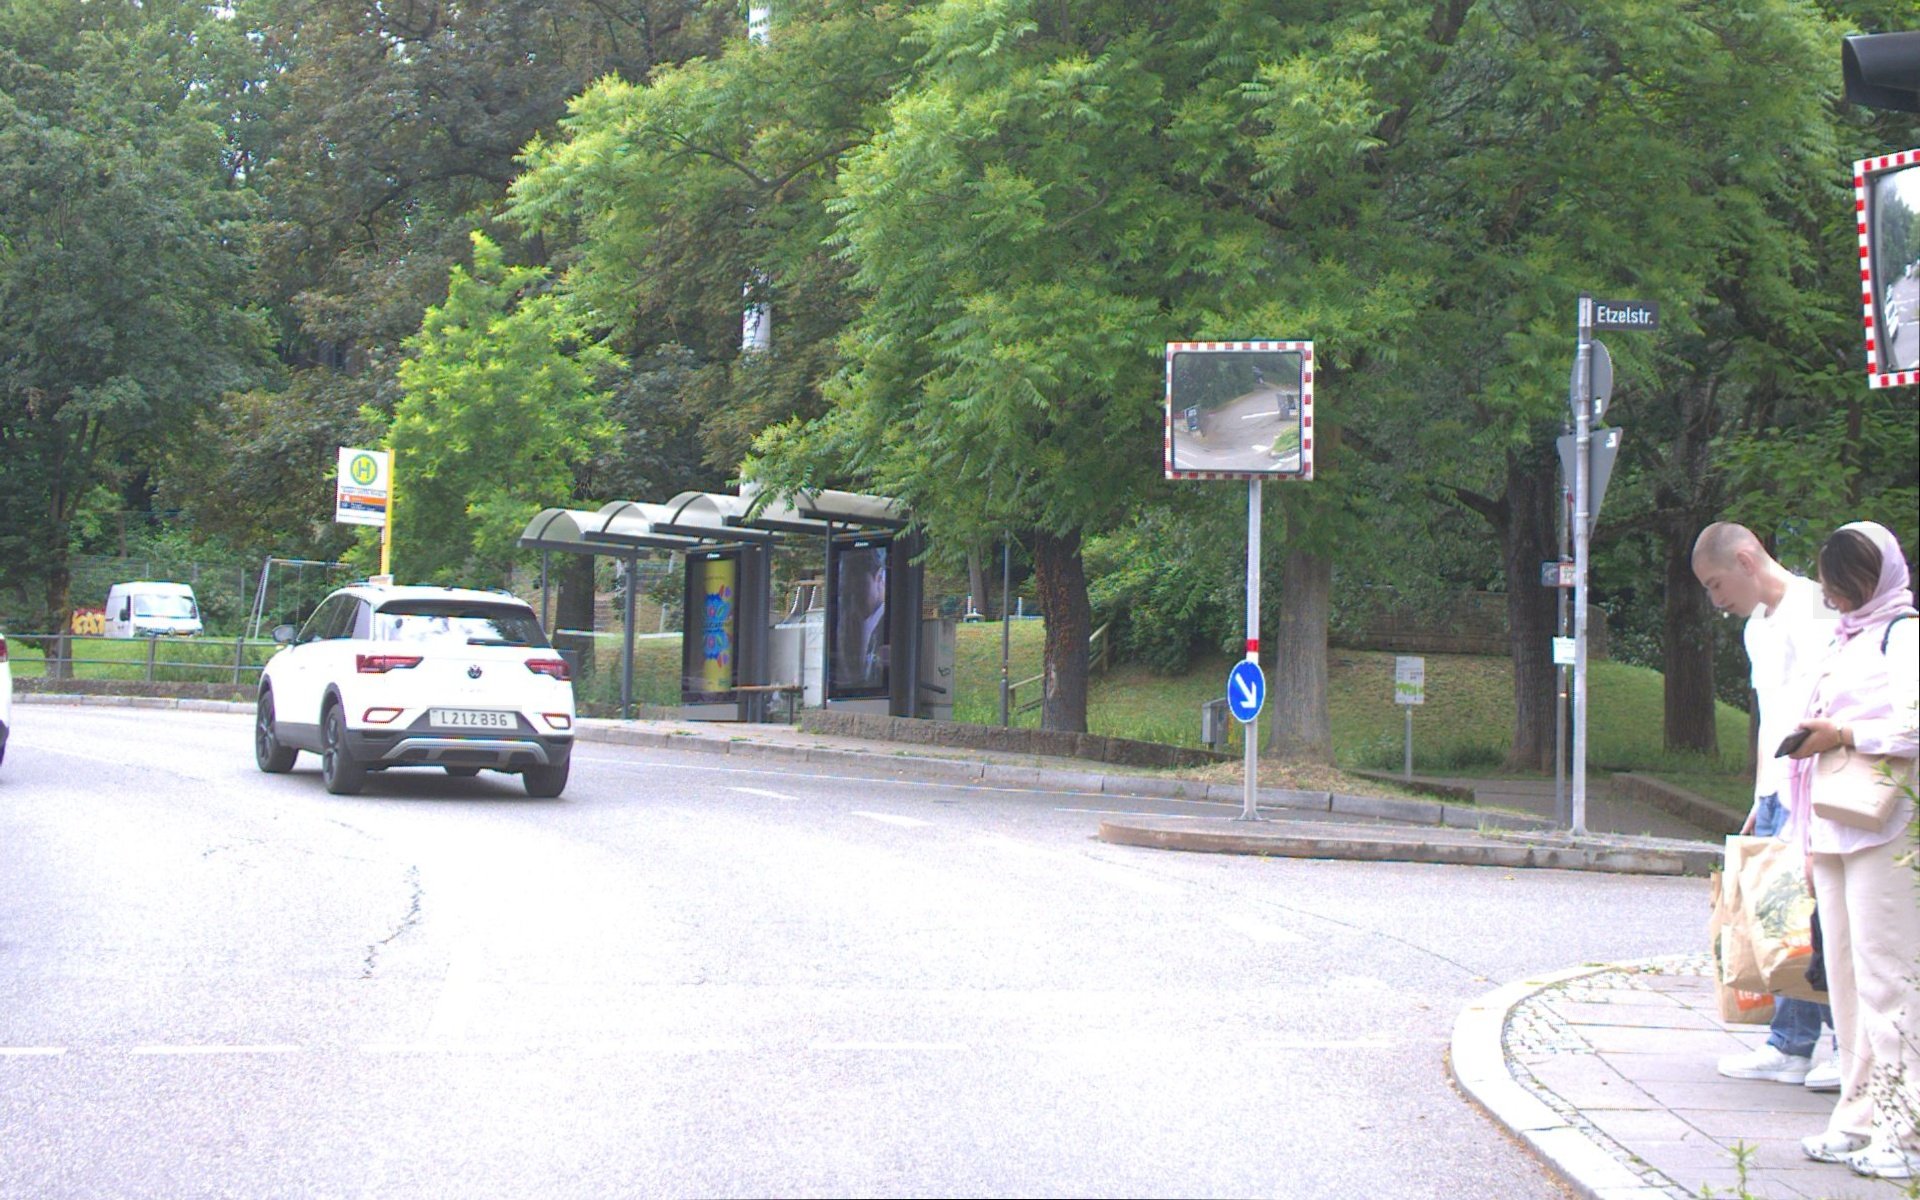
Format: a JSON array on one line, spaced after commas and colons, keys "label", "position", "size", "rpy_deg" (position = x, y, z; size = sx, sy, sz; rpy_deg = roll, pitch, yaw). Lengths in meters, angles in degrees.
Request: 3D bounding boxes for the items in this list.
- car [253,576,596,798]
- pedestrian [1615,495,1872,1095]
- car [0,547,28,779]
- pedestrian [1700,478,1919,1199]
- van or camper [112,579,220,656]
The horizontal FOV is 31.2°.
[{"label": "car", "position": [-4.222, 0.623, 26.632], "size": [1.864, 1.551, 3.895], "rpy_deg": [2, 0, -20]}, {"label": "pedestrian", "position": [2.300, 0.558, 10.156], "size": [0.615, 1.706, 0.727], "rpy_deg": [0, 0, 3]}, {"label": "car", "position": [-8.510, 0.399, 26.017], "size": [1.876, 1.646, 4.342], "rpy_deg": [3, -1, -27]}, {"label": "pedestrian", "position": [2.197, 0.567, 8.467], "size": [0.615, 1.706, 0.727], "rpy_deg": [0, 0, 3]}, {"label": "van or camper", "position": [-22.594, 0.485, 97.715], "size": [2.303, 2.007, 5.443], "rpy_deg": [3, -1, -19]}]
